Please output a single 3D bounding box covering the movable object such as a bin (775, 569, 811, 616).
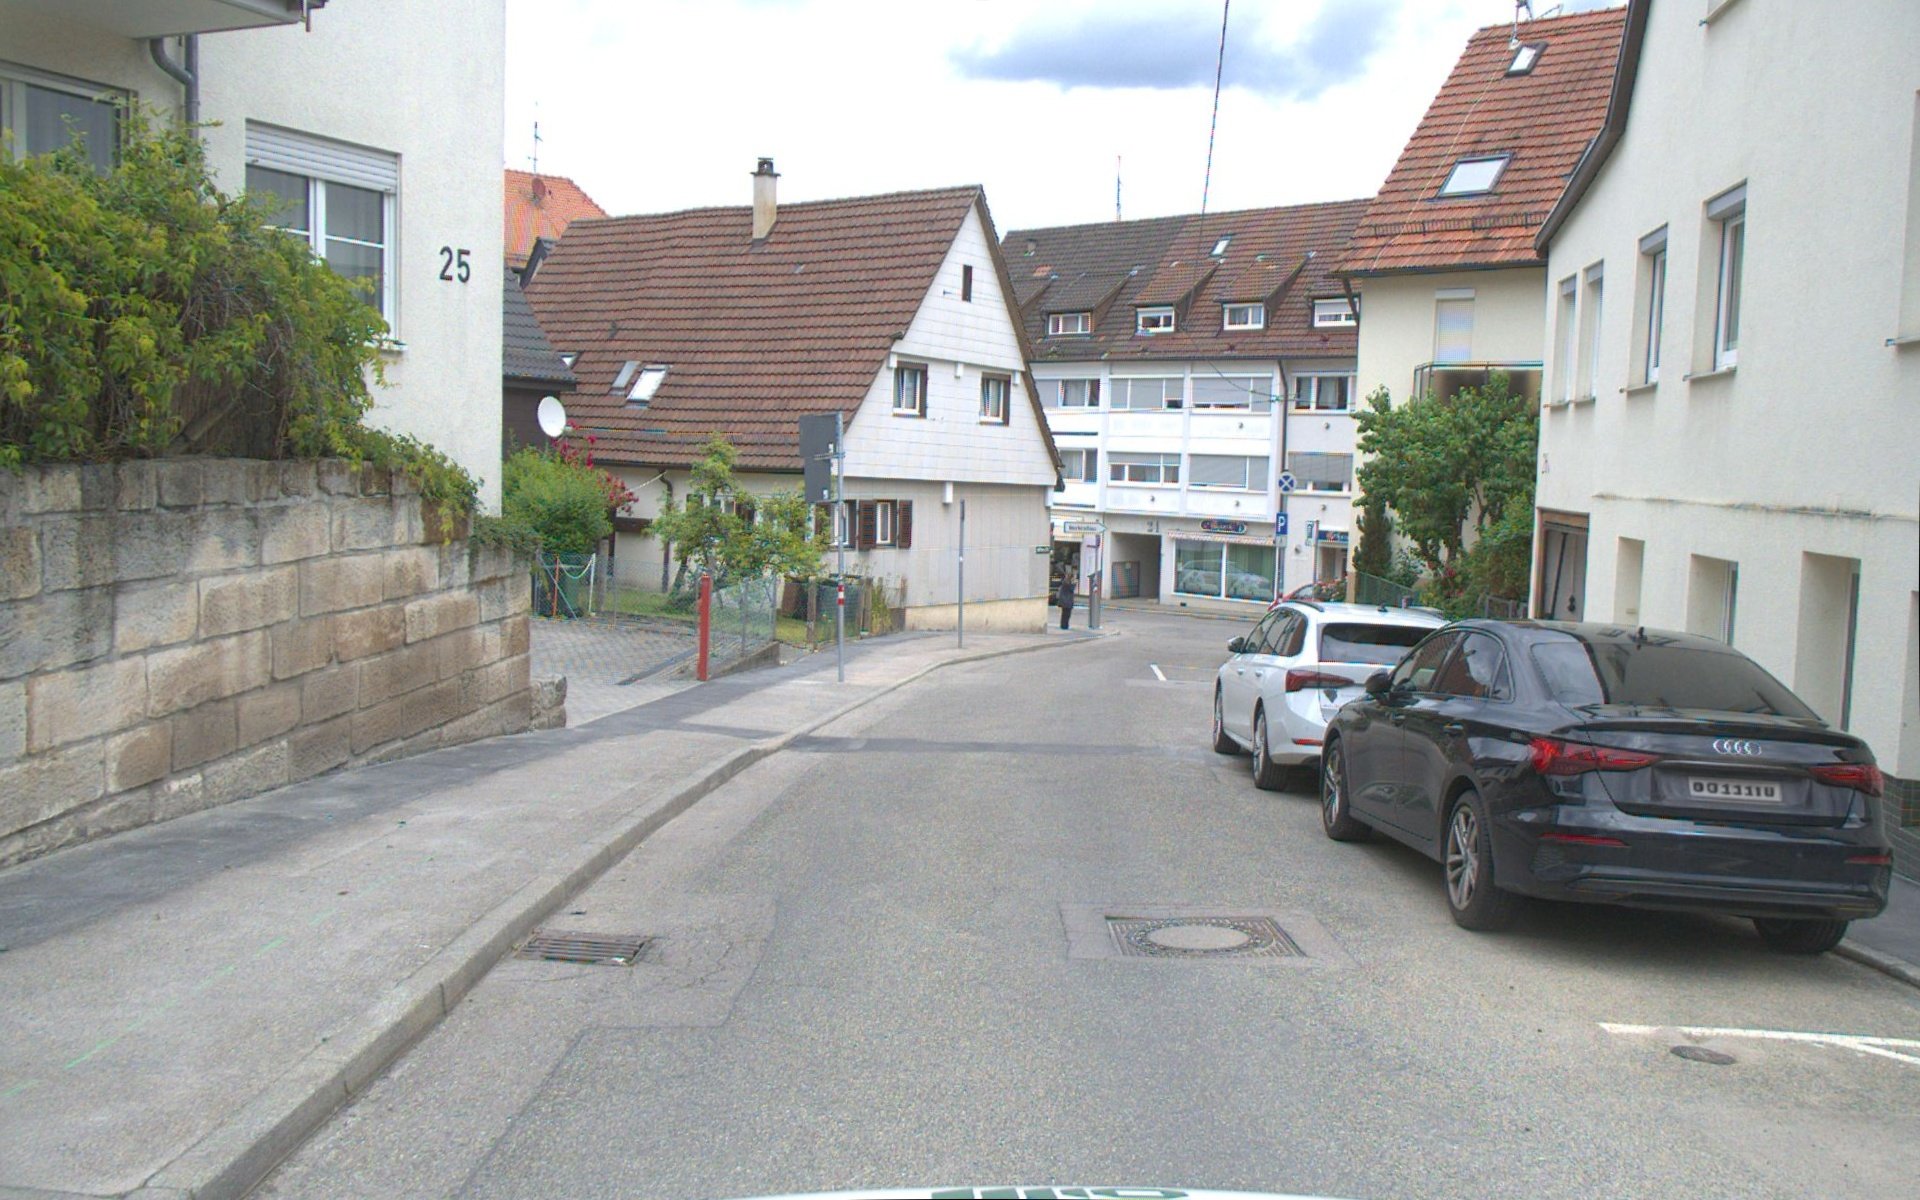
[{"bbox_3d":[-3.415,-0.147,33.825,0.486,0.892,0.451,7,1,34],"label":"movable object such as a bin"}]

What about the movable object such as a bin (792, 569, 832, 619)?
[{"bbox_3d":[-2.997,-0.113,33.479,0.518,0.932,0.488,7,1,34],"label":"movable object such as a bin"}]

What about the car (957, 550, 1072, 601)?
[{"bbox_3d":[2.094,-0.975,64.411,4.296,1.810,1.934,4,3,44],"label":"car"}]

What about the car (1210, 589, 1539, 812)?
[{"bbox_3d":[3.278,0.701,13.952,1.758,1.470,4.299,4,0,2],"label":"car"}]

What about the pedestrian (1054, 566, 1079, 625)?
[{"bbox_3d":[3.140,-0.137,48.833,0.633,1.714,0.605,3,2,7],"label":"pedestrian"}]

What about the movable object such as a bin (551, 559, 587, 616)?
[{"bbox_3d":[-6.986,-0.231,29.577,0.390,0.998,0.508,1,1,21],"label":"movable object such as a bin"}]

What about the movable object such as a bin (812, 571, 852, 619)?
[{"bbox_3d":[-2.566,-0.095,33.208,0.518,0.899,0.488,7,1,34],"label":"movable object such as a bin"}]

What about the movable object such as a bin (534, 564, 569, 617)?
[{"bbox_3d":[-7.179,-0.172,29.088,0.368,0.909,0.490,2,1,21],"label":"movable object such as a bin"}]

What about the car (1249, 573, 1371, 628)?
[{"bbox_3d":[11.687,0.001,55.401,1.685,1.583,3.636,1,3,-44],"label":"car"}]

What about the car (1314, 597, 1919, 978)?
[{"bbox_3d":[3.195,0.774,8.872,1.640,1.433,4.051,4,0,0],"label":"car"}]
